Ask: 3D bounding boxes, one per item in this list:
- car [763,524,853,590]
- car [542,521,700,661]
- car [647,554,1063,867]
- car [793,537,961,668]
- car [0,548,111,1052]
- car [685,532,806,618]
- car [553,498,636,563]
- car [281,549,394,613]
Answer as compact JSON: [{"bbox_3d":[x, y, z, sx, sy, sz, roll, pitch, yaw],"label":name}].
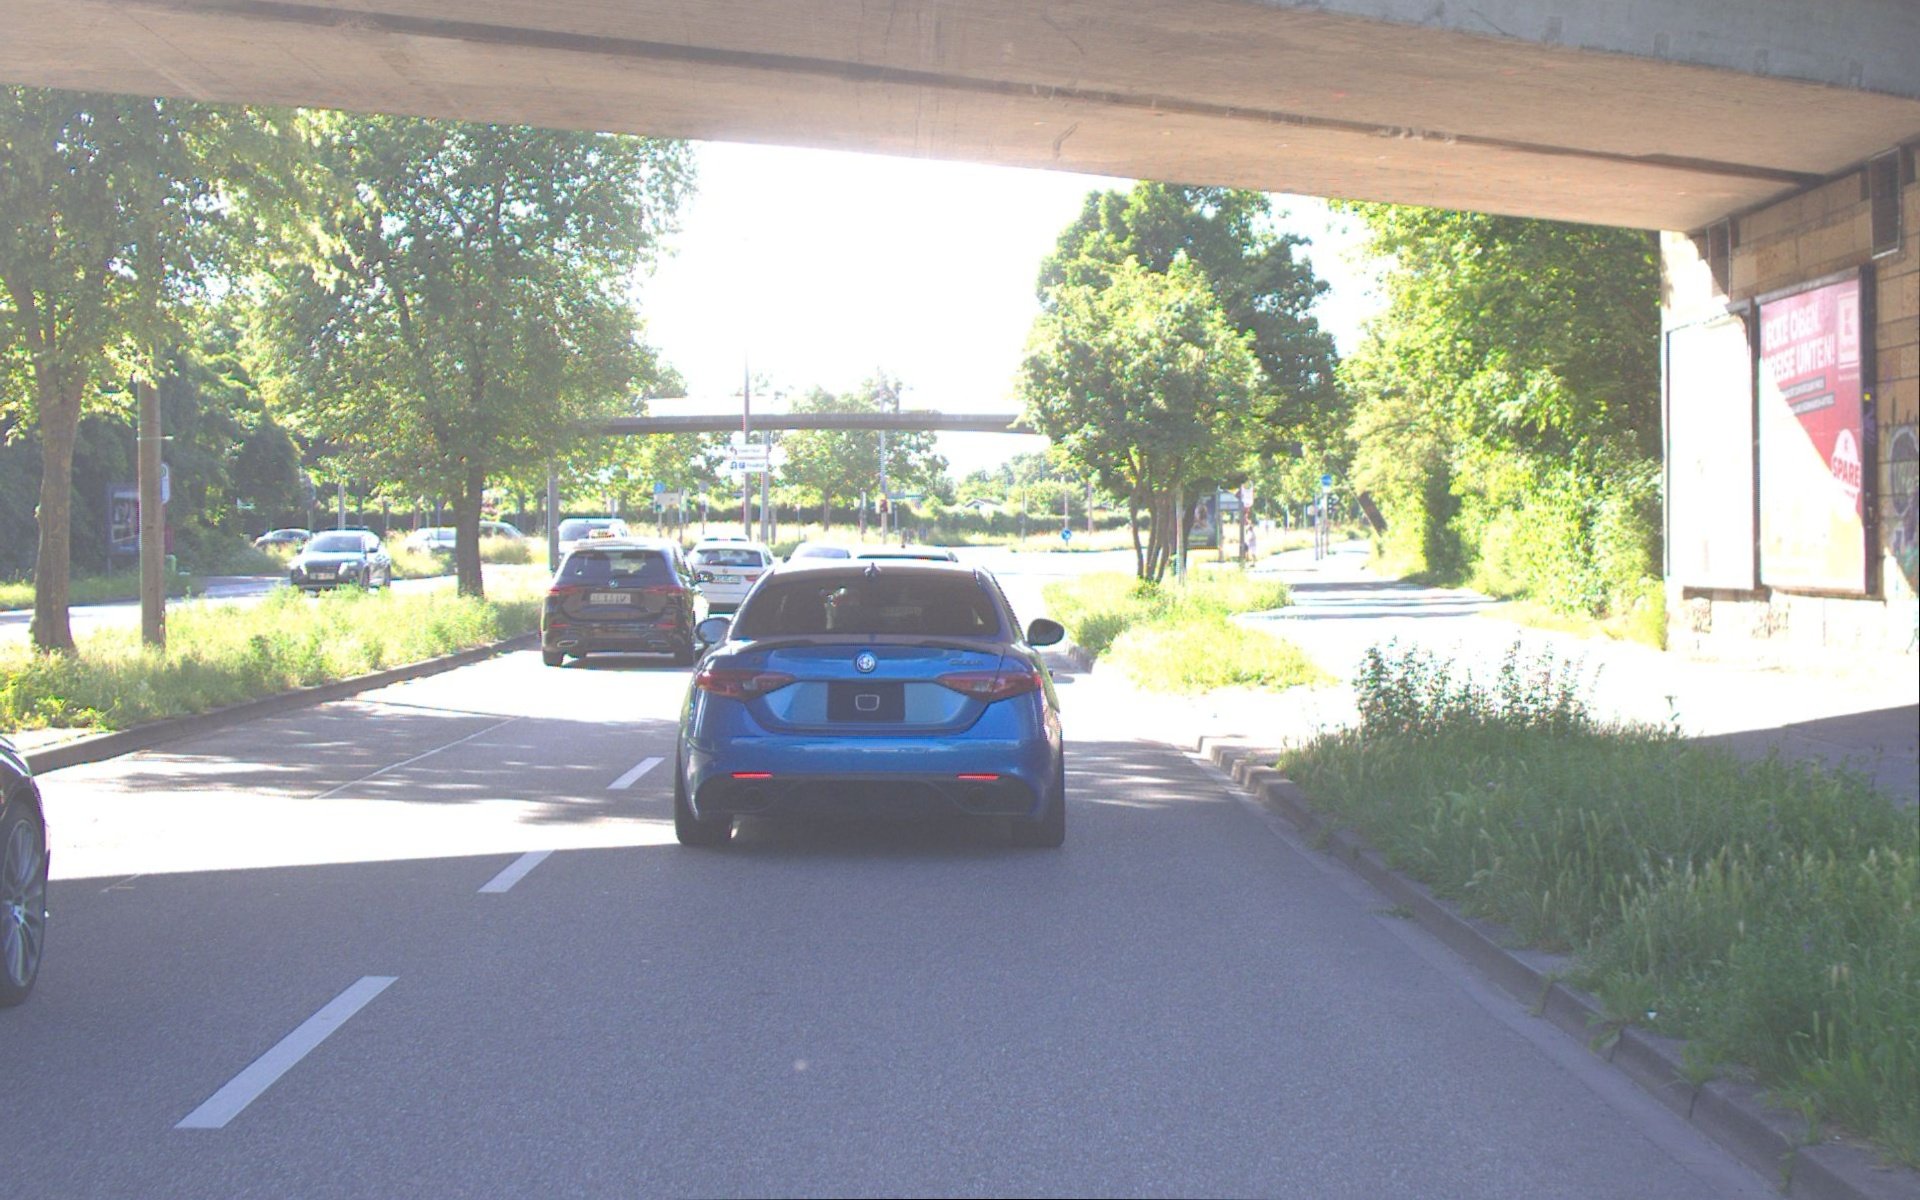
[{"bbox_3d":[-3.446,-0.984,78.579,1.883,1.449,4.526,1,1,-1],"label":"car"},{"bbox_3d":[-4.072,-0.132,41.834,1.707,1.592,4.224,1,1,-3],"label":"car"},{"bbox_3d":[-0.502,0.478,17.876,1.883,1.401,4.224,1,1,-1],"label":"car"},{"bbox_3d":[-0.958,-0.004,41.225,1.883,1.449,4.526,1,1,-1],"label":"car"},{"bbox_3d":[-3.802,0.609,8.954,1.959,1.478,4.918,0,1,0],"label":"car"},{"bbox_3d":[-3.762,-0.456,61.005,1.883,1.449,4.526,1,1,-1],"label":"car"},{"bbox_3d":[-11.121,-2.091,104.849,1.993,1.922,5.246,0,1,0],"label":"car"},{"bbox_3d":[-15.778,-0.509,87.318,1.982,1.547,4.593,1,1,0],"label":"car"}]
